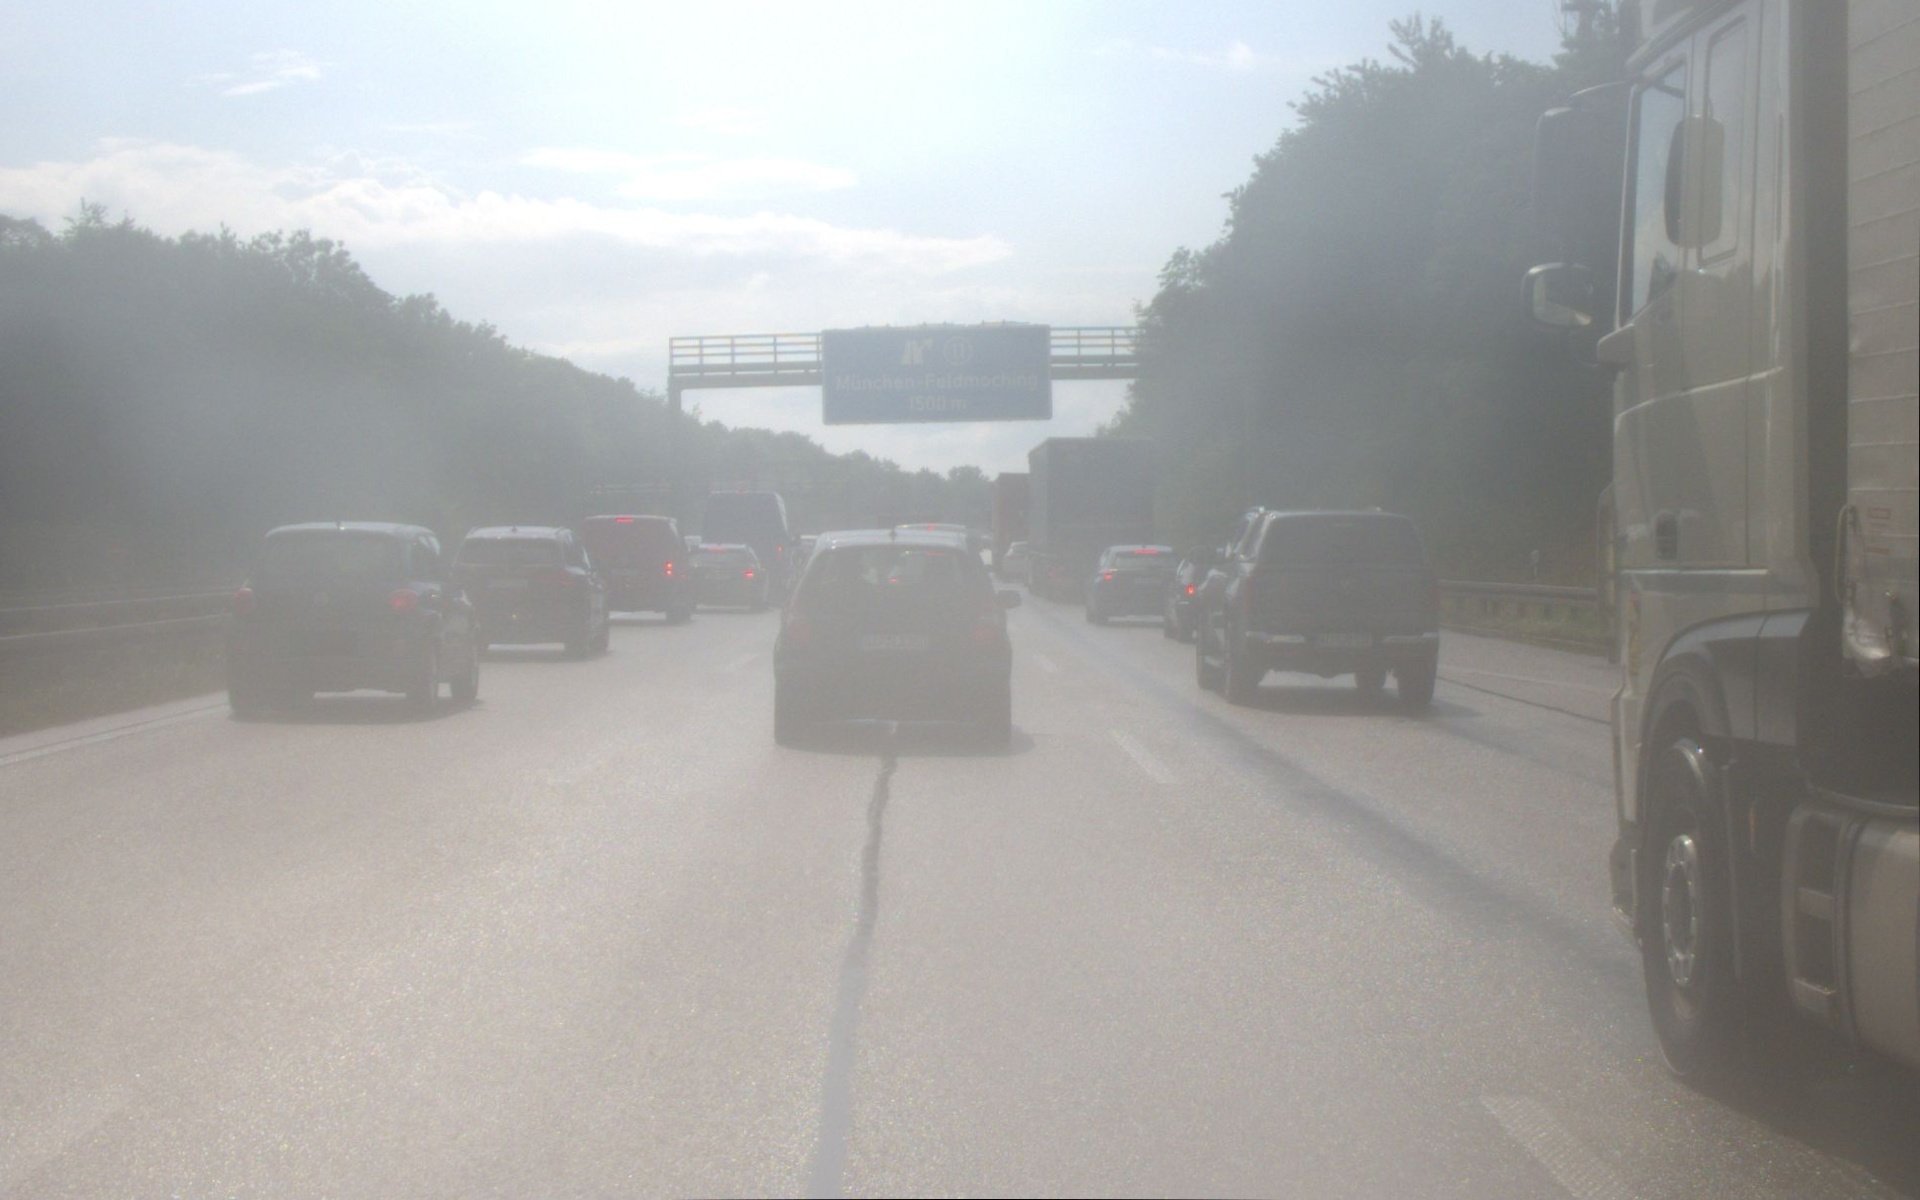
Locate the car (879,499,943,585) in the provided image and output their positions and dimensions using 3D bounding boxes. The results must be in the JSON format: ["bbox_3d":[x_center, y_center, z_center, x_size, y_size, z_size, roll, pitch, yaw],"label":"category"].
[{"bbox_3d":[-1.591,-1.883,113.018,1.993,2.737,5.260,1,1,0],"label":"car"}]

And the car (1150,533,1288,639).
[{"bbox_3d":[3.852,-0.225,51.598,1.590,1.511,3.976,0,1,-2],"label":"car"}]

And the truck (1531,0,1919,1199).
[{"bbox_3d":[3.547,-0.598,7.606,3.284,3.877,6.397,1,1,-2],"label":"truck"}]

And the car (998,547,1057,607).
[{"bbox_3d":[2.418,-0.855,124.143,1.993,2.108,4.889,1,1,0],"label":"car"}]

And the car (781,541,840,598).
[{"bbox_3d":[-5.614,-1.158,129.326,1.993,2.108,4.889,1,1,0],"label":"car"}]

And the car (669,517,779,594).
[{"bbox_3d":[-4.932,-0.935,72.376,1.993,1.559,4.756,1,1,0],"label":"car"}]

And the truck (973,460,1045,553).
[{"bbox_3d":[1.924,-3.693,137.180,2.775,3.619,5.917,1,1,0],"label":"truck"}]

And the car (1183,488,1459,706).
[{"bbox_3d":[3.377,-0.058,33.198,1.941,1.912,5.652,1,1,-1],"label":"car"}]

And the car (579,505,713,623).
[{"bbox_3d":[-5.649,-0.659,62.404,1.978,2.047,4.756,1,1,0],"label":"car"}]

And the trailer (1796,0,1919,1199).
[{"bbox_3d":[3.702,-0.440,0.518,3.283,3.885,14.130,1,1,-2],"label":"trailer"}]

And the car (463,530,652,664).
[{"bbox_3d":[-5.174,-0.065,44.742,1.909,1.631,4.617,-1,1,0],"label":"car"}]

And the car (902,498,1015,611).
[{"bbox_3d":[-0.061,-0.747,57.004,1.692,1.798,3.976,0,1,-2],"label":"car"}]

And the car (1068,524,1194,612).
[{"bbox_3d":[3.026,-0.583,61.534,1.864,1.511,3.976,0,1,-3],"label":"car"}]

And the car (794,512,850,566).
[{"bbox_3d":[-5.472,-2.416,136.640,1.993,2.108,4.889,1,1,0],"label":"car"}]

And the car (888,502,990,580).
[{"bbox_3d":[-0.448,-1.167,68.983,1.864,1.511,3.976,0,1,-3],"label":"car"}]

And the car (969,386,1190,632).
[{"bbox_3d":[2.874,-2.271,90.445,4.403,5.810,16.820,0,1,-3],"label":"car"}]

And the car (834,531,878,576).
[{"bbox_3d":[-5.038,-2.255,167.030,1.993,2.108,4.889,1,1,0],"label":"car"}]

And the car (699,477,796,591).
[{"bbox_3d":[-5.044,-1.561,82.256,1.993,2.606,5.260,1,1,0],"label":"car"}]

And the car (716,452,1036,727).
[{"bbox_3d":[-0.685,-0.100,26.999,2.274,1.948,4.822,0,1,-2],"label":"car"}]

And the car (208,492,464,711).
[{"bbox_3d":[-5.455,-0.007,30.456,1.692,1.798,3.976,0,1,-2],"label":"car"}]
